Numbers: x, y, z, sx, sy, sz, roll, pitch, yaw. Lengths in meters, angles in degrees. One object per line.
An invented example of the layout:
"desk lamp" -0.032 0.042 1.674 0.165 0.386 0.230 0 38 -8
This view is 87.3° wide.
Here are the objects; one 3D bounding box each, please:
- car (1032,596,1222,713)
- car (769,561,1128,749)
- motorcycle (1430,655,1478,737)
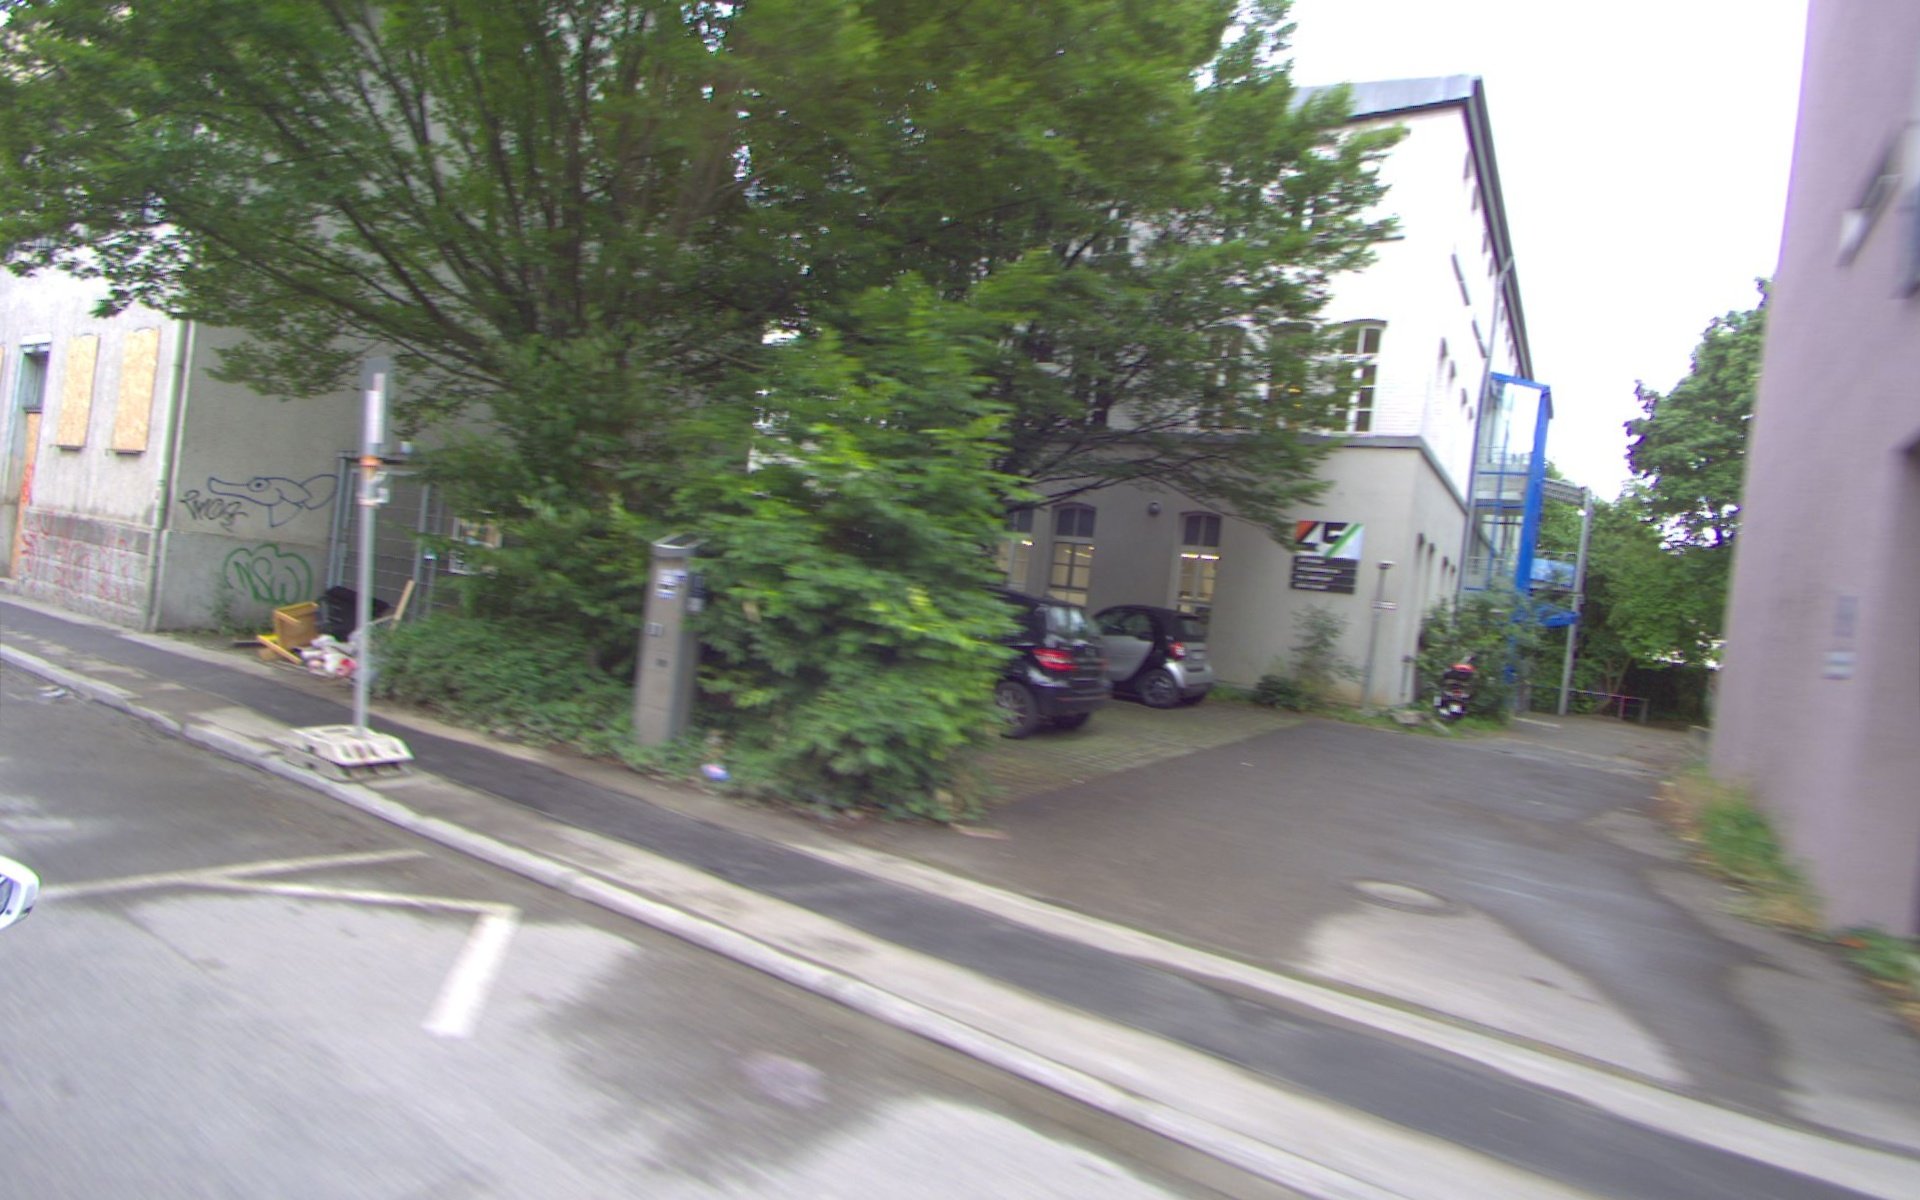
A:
"car" 2.749 0.841 16.618 2.625 1.549 1.462 7 3 33
"car" -0.189 0.566 12.205 3.931 1.606 1.637 8 3 29
"motorcycle" 8.763 1.692 17.817 0.616 1.334 1.314 6 -1 28
